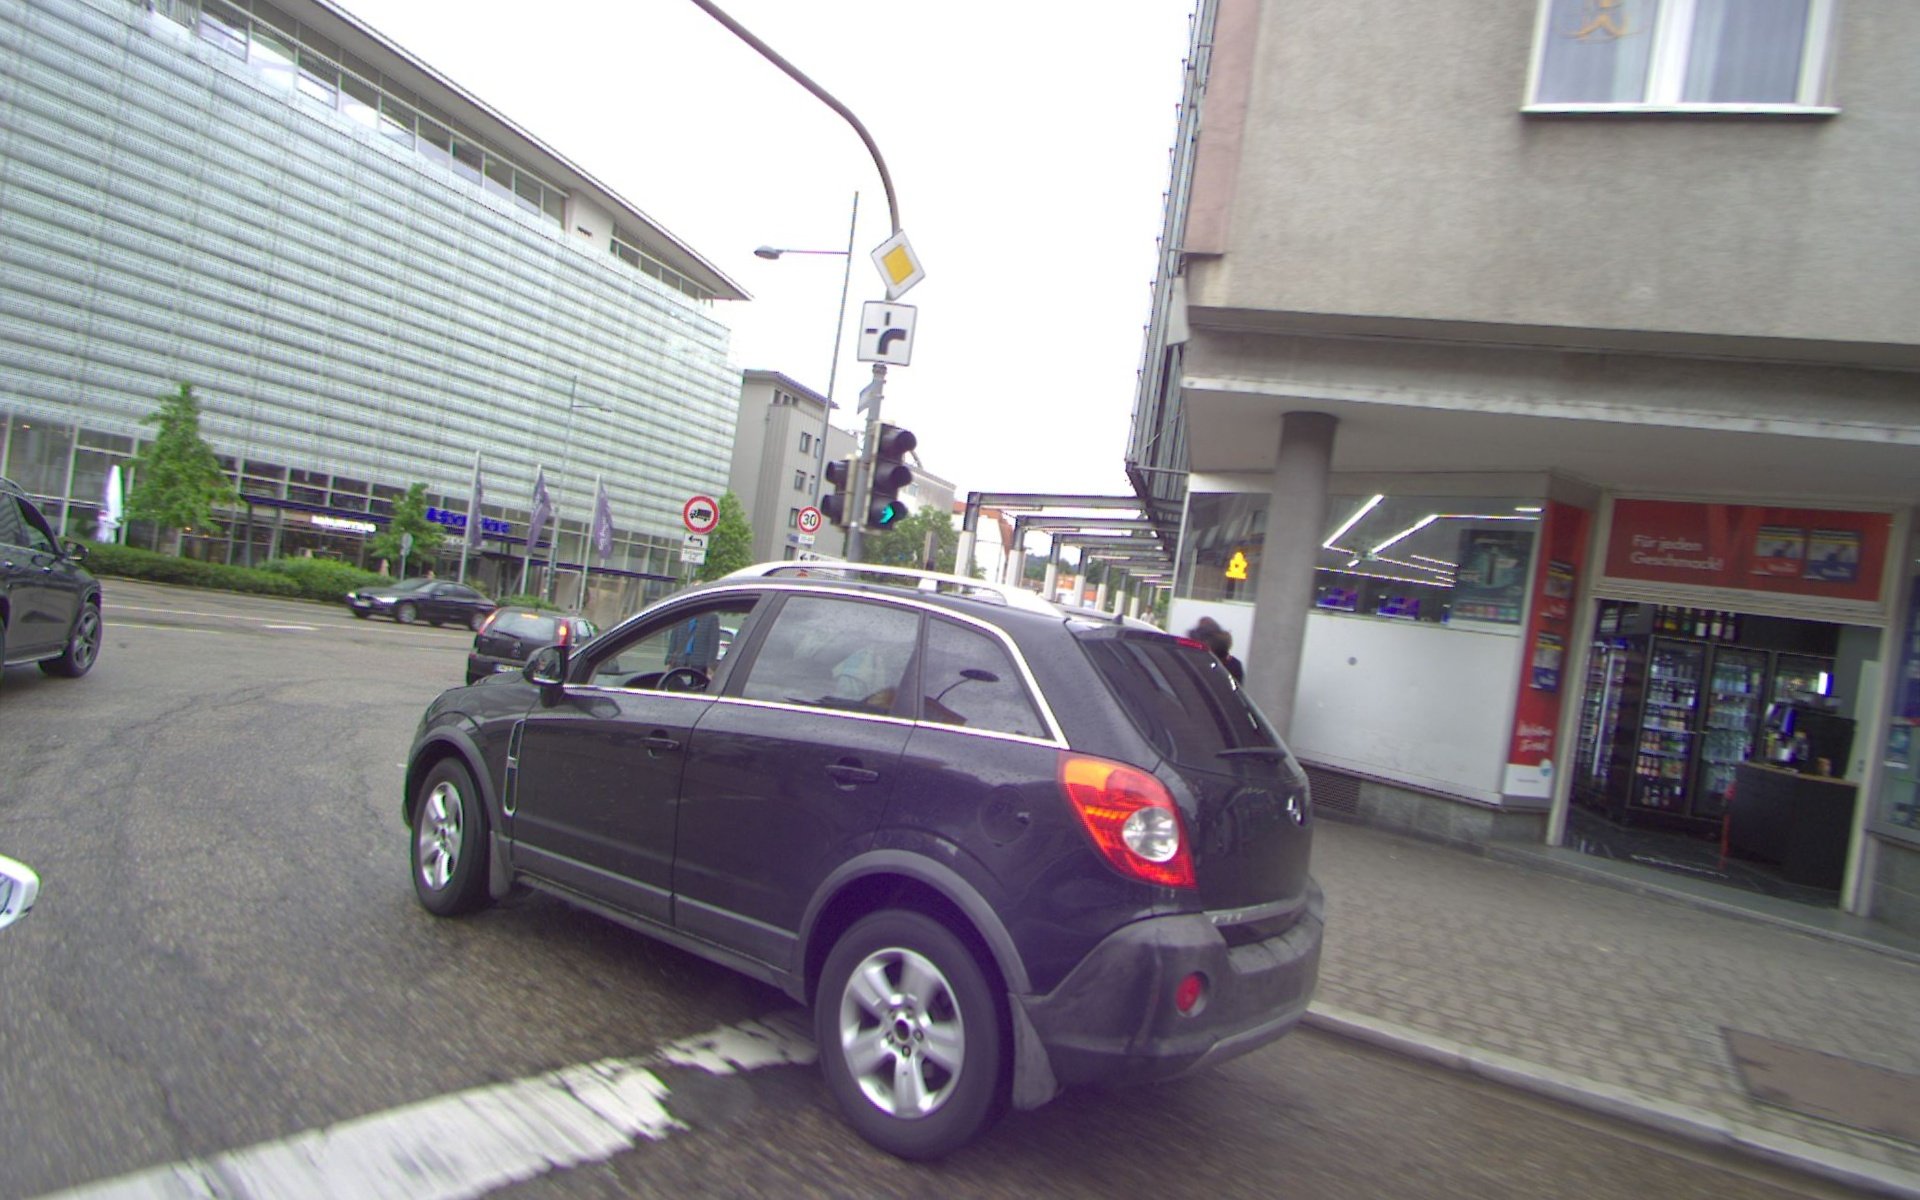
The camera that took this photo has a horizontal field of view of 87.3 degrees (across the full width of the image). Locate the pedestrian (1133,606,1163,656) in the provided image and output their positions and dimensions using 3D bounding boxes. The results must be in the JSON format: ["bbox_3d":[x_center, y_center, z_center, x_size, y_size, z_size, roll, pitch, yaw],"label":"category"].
[{"bbox_3d":[6.901,1.137,36.876,0.812,1.707,0.599,7,-2,17],"label":"pedestrian"}]

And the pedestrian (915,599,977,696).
[{"bbox_3d":[-0.133,0.452,9.596,0.434,0.856,0.220,7,-3,36],"label":"pedestrian"}]

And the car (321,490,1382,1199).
[{"bbox_3d":[-0.689,0.730,4.446,4.233,1.804,1.912,8,-4,35],"label":"car"}]

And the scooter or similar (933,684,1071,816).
[{"bbox_3d":[0.391,1.305,8.973,1.028,0.998,0.773,4,0,14],"label":"scooter or similar"}]

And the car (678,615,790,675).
[{"bbox_3d":[-7.853,1.625,35.334,1.919,1.591,4.007,9,-3,17],"label":"car"}]

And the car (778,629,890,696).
[{"bbox_3d":[-3.741,1.946,30.664,1.919,1.591,4.007,9,-2,14],"label":"car"}]

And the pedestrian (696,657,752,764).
[{"bbox_3d":[-2.417,1.121,10.293,0.465,1.013,0.260,7,4,38],"label":"pedestrian"}]

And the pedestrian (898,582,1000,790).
[{"bbox_3d":[-0.095,0.798,9.745,0.646,1.889,0.837,4,1,19],"label":"pedestrian"}]

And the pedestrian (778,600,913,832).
[{"bbox_3d":[-0.873,0.854,7.737,0.822,1.659,0.540,3,2,14],"label":"pedestrian"}]

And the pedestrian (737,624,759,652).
[{"bbox_3d":[-14.151,2.547,67.202,0.978,1.742,1.039,8,-2,-1],"label":"pedestrian"}]

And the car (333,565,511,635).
[{"bbox_3d":[-16.063,0.058,30.361,1.962,1.441,4.642,8,-3,16],"label":"car"}]

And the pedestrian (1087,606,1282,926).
[{"bbox_3d":[1.326,0.935,5.997,0.623,1.713,0.773,5,1,-40],"label":"pedestrian"}]

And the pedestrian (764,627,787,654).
[{"bbox_3d":[-13.178,2.877,71.954,0.959,1.742,1.090,7,-2,24],"label":"pedestrian"}]

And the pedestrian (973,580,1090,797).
[{"bbox_3d":[0.712,0.837,9.824,0.719,1.955,0.820,6,0,23],"label":"pedestrian"}]

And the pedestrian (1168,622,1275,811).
[{"bbox_3d":[2.499,1.073,9.585,0.823,1.659,0.617,4,3,19],"label":"pedestrian"}]

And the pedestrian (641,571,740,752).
[{"bbox_3d":[-2.942,0.649,10.997,0.774,1.891,0.616,3,1,31],"label":"pedestrian"}]

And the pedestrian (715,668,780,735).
[{"bbox_3d":[-2.075,0.983,9.832,0.451,0.578,0.371,7,1,34],"label":"pedestrian"}]

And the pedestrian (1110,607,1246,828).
[{"bbox_3d":[2.010,1.070,9.366,0.824,1.887,0.666,8,-2,-9],"label":"pedestrian"}]

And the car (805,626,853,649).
[{"bbox_3d":[-15.350,4.403,117.758,4.995,1.777,2.003,11,-2,5],"label":"car"}]

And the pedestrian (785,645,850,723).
[{"bbox_3d":[-3.064,1.809,21.741,1.038,1.549,1.029,5,-2,6],"label":"pedestrian"}]

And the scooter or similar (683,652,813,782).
[{"bbox_3d":[-2.058,1.113,9.832,0.644,1.123,0.970,7,1,34],"label":"scooter or similar"}]

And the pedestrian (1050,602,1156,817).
[{"bbox_3d":[1.275,0.934,8.863,0.606,1.744,0.838,5,0,23],"label":"pedestrian"}]

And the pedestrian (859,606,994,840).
[{"bbox_3d":[-0.259,0.898,7.623,0.737,1.656,0.591,3,0,-34],"label":"pedestrian"}]

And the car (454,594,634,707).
[{"bbox_3d":[-6.976,0.862,17.291,1.694,1.434,3.770,10,-4,-6],"label":"car"}]

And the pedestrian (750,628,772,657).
[{"bbox_3d":[-13.113,2.806,66.396,0.802,1.732,1.315,8,-2,10],"label":"pedestrian"}]

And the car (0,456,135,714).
[{"bbox_3d":[-8.600,-0.260,8.163,2.074,1.837,4.755,9,-3,-31],"label":"car"}]

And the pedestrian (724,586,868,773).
[{"bbox_3d":[-1.672,0.800,10.349,0.824,1.744,1.036,7,1,31],"label":"pedestrian"}]
